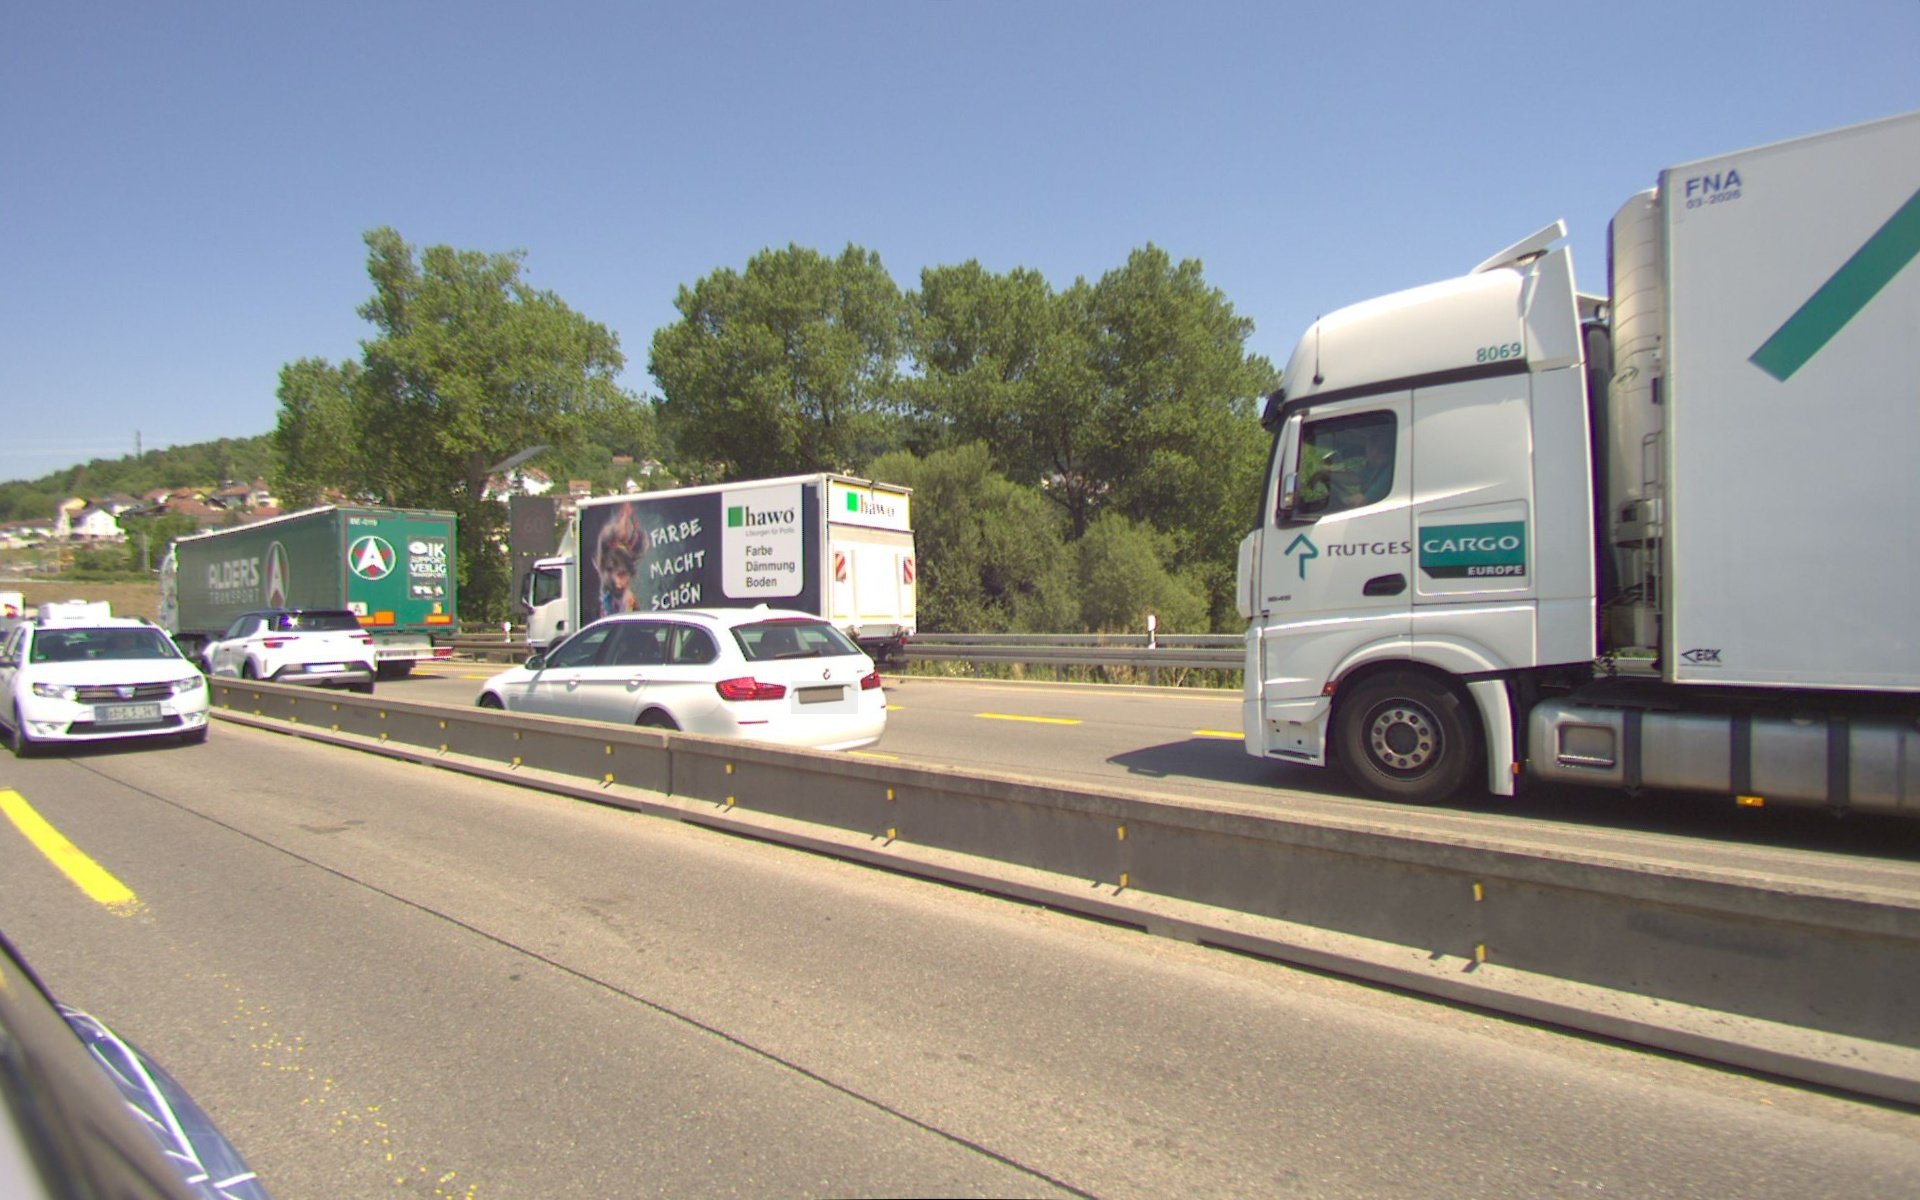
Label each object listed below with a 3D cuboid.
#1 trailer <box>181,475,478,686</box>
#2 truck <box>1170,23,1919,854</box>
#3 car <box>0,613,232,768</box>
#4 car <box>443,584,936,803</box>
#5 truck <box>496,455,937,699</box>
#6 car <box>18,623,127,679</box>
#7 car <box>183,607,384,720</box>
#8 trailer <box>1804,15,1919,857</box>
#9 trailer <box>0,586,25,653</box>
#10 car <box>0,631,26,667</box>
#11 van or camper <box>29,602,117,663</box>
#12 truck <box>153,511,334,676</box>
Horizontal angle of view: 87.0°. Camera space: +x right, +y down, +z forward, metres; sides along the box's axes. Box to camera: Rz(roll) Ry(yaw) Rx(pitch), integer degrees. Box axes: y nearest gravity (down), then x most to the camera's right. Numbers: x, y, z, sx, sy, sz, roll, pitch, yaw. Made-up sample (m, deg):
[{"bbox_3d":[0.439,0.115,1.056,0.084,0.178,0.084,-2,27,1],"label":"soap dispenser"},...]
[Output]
[{"bbox_3d":[-17.266,-0.231,26.987,13.012,4.499,3.069,-2,-2,41],"label":"trailer"},{"bbox_3d":[5.024,-0.829,7.321,6.221,4.426,2.777,-2,-1,41],"label":"truck"},{"bbox_3d":[-10.784,0.993,12.520,4.702,1.542,1.800,-2,-1,40],"label":"car"},{"bbox_3d":[-2.747,0.715,9.472,4.971,1.509,1.973,-2,0,41],"label":"car"},{"bbox_3d":[-4.783,-0.245,19.077,8.334,3.793,2.884,-2,0,30],"label":"truck"},{"bbox_3d":[-27.162,1.529,30.922,4.604,1.470,1.846,-2,1,41],"label":"car"},{"bbox_3d":[-11.759,1.040,17.493,4.152,1.659,1.739,-2,1,40],"label":"car"},{"bbox_3d":[10.598,-0.928,2.376,13.161,4.464,2.786,-1,-1,41],"label":"trailer"},{"bbox_3d":[-65.126,1.464,67.293,11.786,4.208,2.778,-3,-1,40],"label":"trailer"},{"bbox_3d":[-40.533,2.066,42.233,4.535,1.431,1.759,-2,1,41],"label":"car"},{"bbox_3d":[-42.318,1.537,48.235,5.241,2.719,2.477,-2,-1,41],"label":"van or camper"},{"bbox_3d":[-22.470,-0.100,31.585,7.099,4.571,3.046,-2,-1,41],"label":"truck"}]
